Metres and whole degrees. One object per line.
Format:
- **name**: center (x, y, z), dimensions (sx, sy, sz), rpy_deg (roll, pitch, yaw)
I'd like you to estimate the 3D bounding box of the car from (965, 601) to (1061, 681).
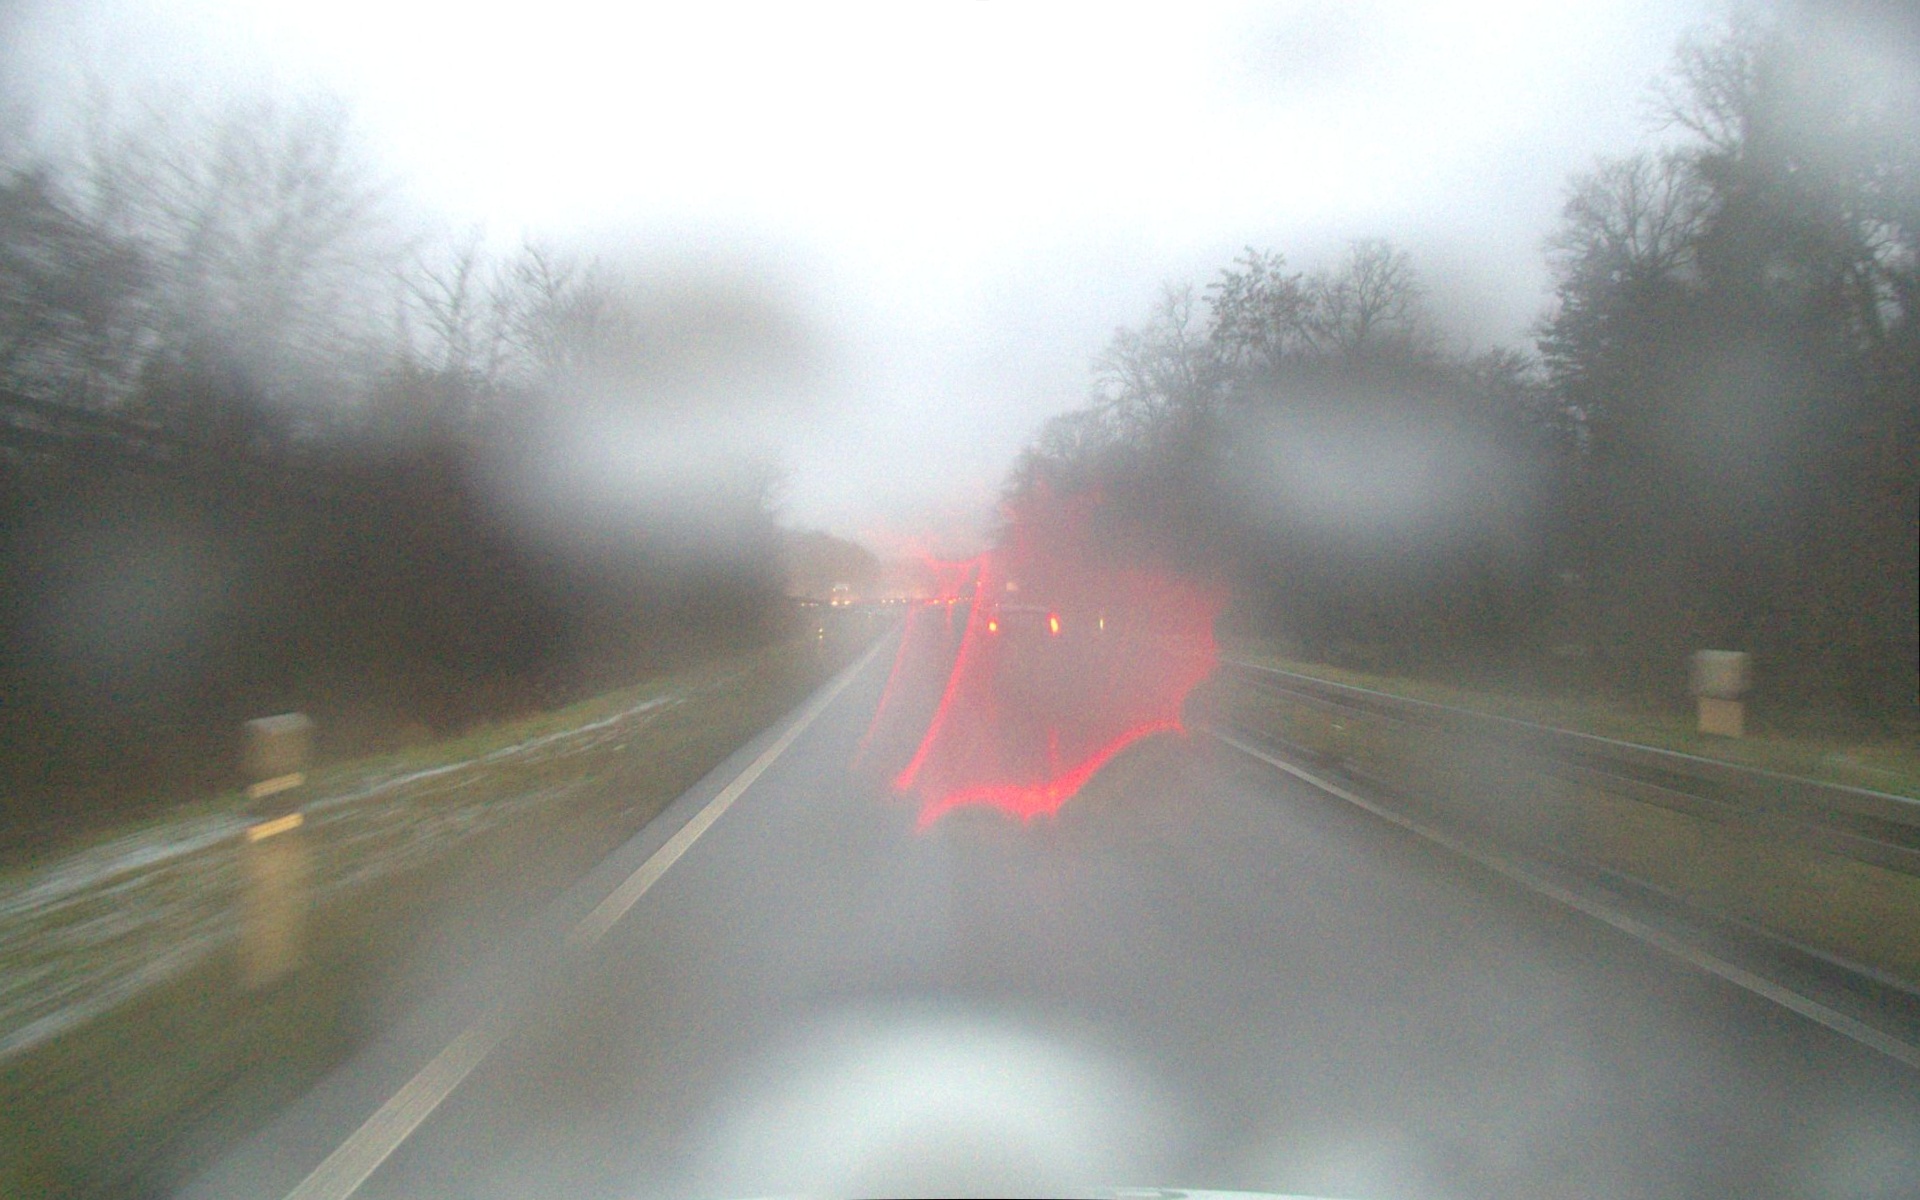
- **car**: center (0.990, 0.774, 32.413), dimensions (1.697, 1.454, 3.764), rpy_deg (-1, -1, -1)
